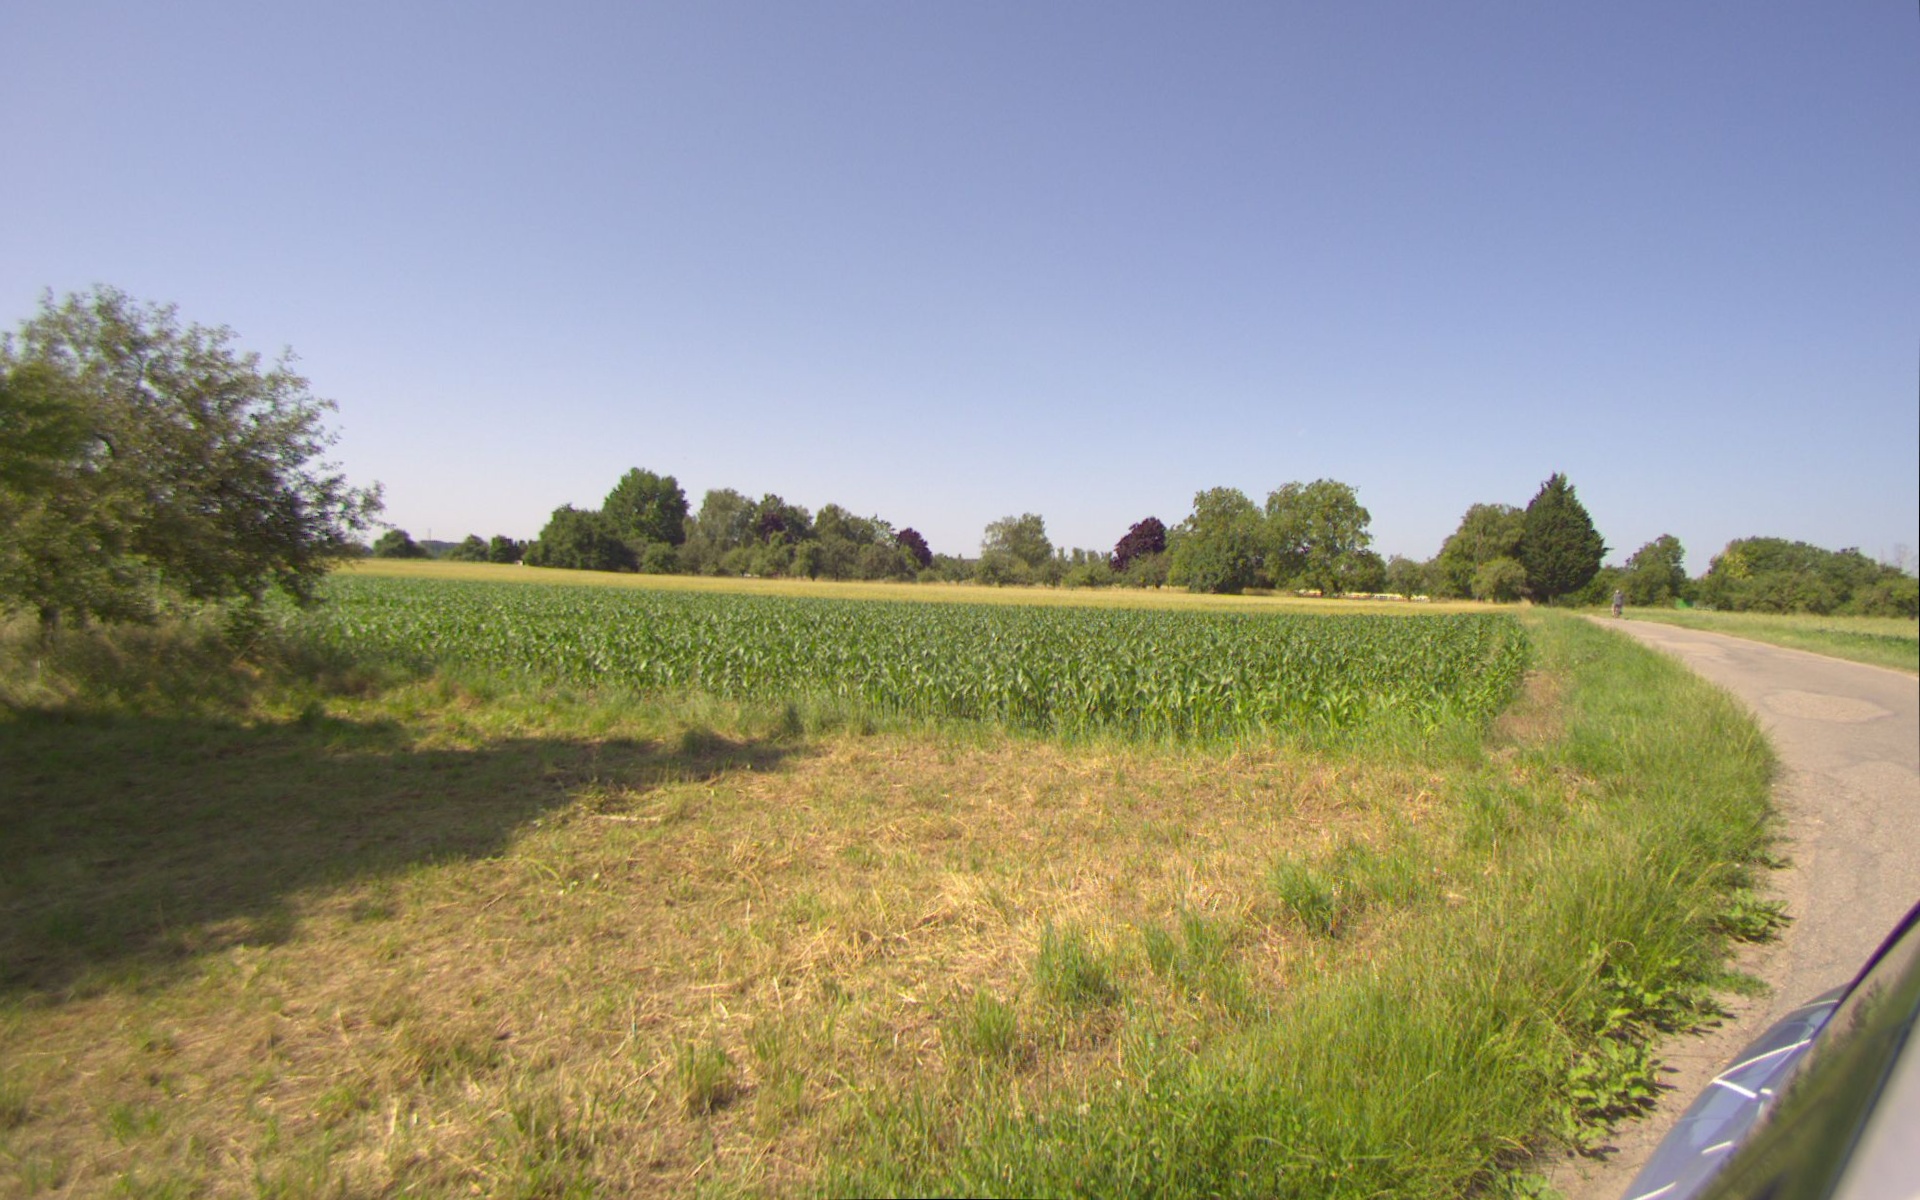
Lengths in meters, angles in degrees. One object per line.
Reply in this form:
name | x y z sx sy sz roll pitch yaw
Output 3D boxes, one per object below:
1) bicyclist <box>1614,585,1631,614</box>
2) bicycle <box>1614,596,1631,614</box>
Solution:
bicyclist | 42.436 -0.024 64.783 0.749 1.813 0.707 4 2 38
bicycle | 42.424 0.316 64.795 0.749 1.141 1.882 5 3 37
